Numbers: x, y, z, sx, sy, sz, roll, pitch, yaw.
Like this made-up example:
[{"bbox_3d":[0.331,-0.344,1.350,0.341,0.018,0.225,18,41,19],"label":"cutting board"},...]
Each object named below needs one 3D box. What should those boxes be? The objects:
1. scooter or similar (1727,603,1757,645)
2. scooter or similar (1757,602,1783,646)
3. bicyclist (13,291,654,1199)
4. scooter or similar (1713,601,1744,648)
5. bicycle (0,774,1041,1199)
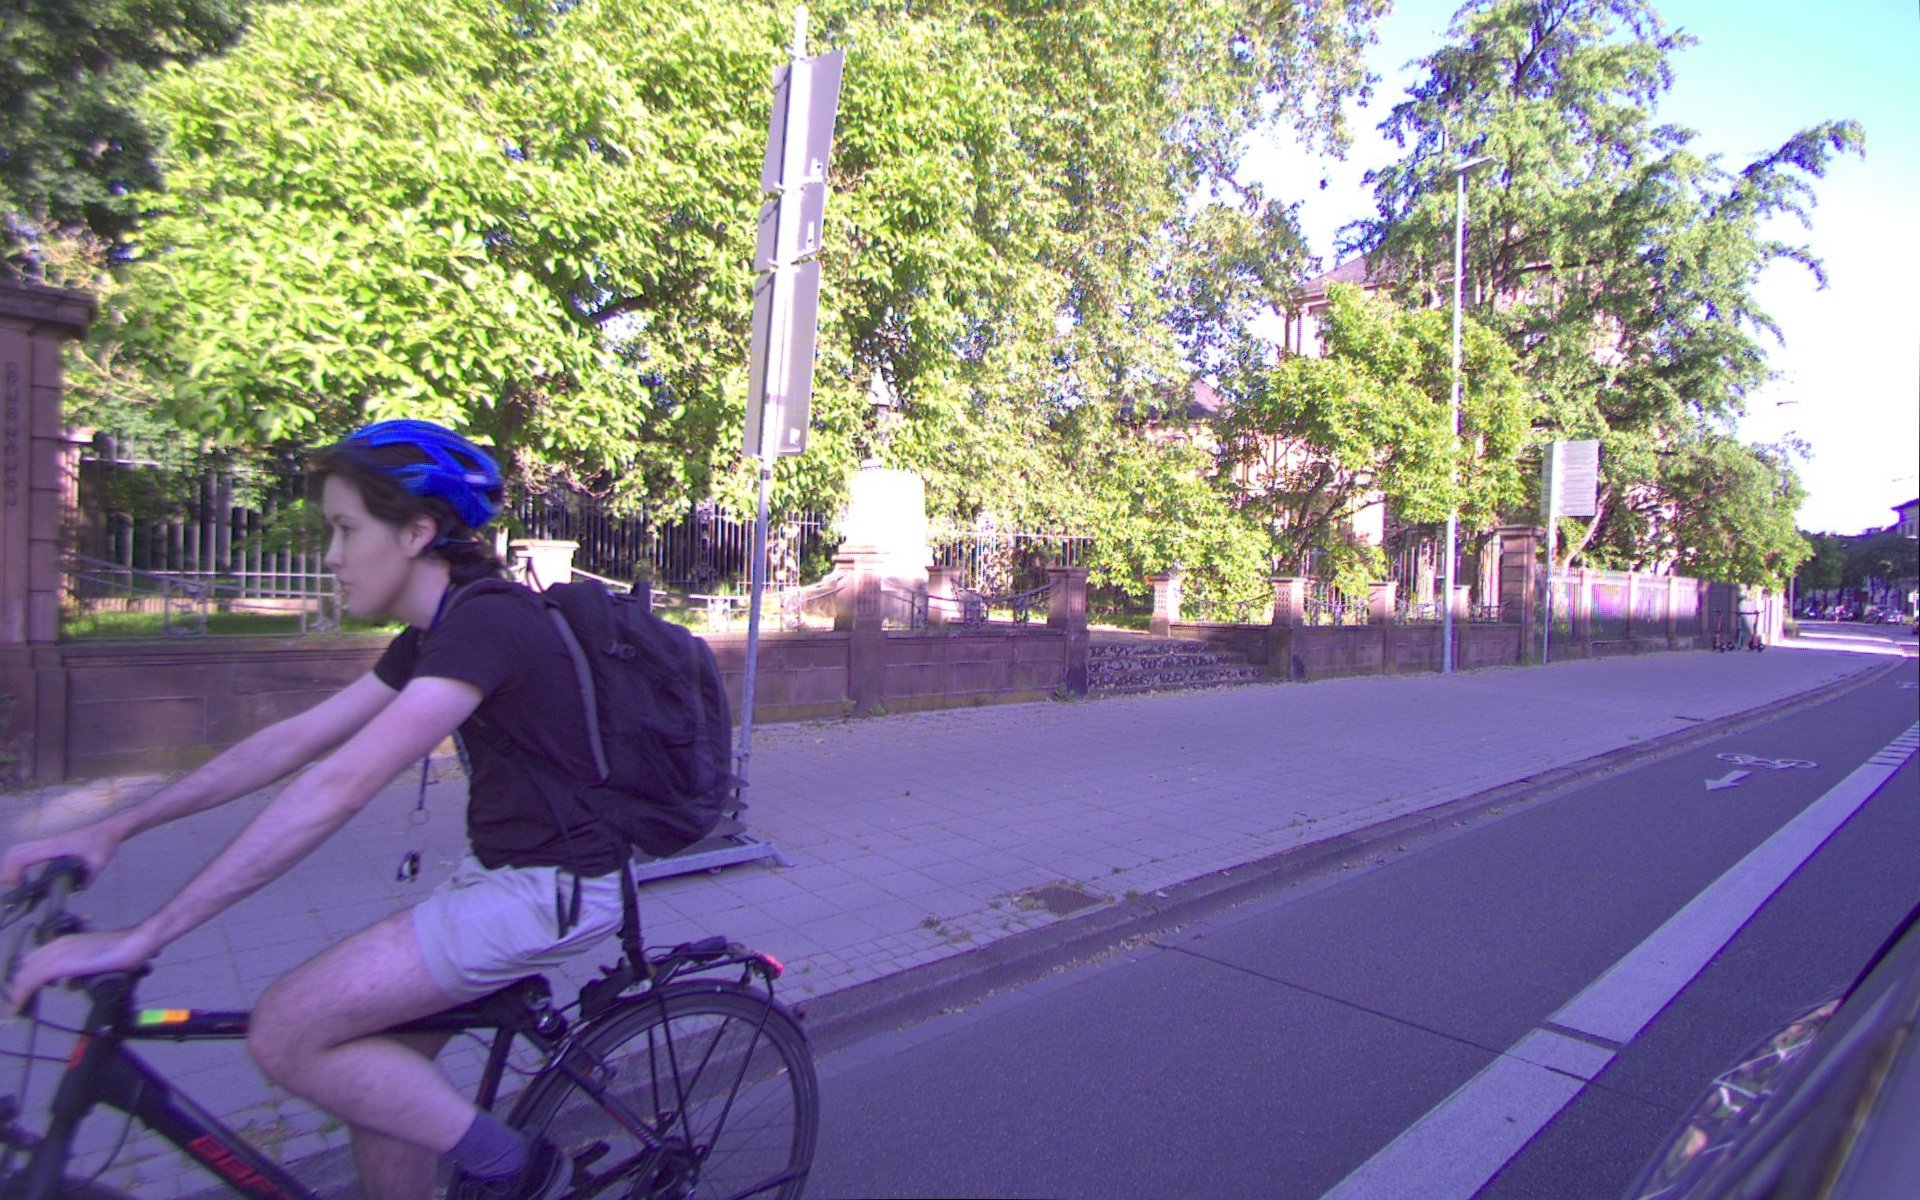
[{"bbox_3d":[23.199,0.692,30.016,0.574,1.199,1.465,3,2,41],"label":"scooter or similar"},{"bbox_3d":[24.299,0.704,30.364,0.514,1.255,1.502,2,1,37],"label":"scooter or similar"},{"bbox_3d":[-0.959,0.481,1.561,0.708,1.622,0.666,1,-1,-42],"label":"bicyclist"},{"bbox_3d":[21.851,0.673,28.793,0.572,1.269,1.470,2,1,33],"label":"scooter or similar"},{"bbox_3d":[-0.810,0.961,1.692,2.045,1.022,0.669,1,0,-42],"label":"bicycle"}]
